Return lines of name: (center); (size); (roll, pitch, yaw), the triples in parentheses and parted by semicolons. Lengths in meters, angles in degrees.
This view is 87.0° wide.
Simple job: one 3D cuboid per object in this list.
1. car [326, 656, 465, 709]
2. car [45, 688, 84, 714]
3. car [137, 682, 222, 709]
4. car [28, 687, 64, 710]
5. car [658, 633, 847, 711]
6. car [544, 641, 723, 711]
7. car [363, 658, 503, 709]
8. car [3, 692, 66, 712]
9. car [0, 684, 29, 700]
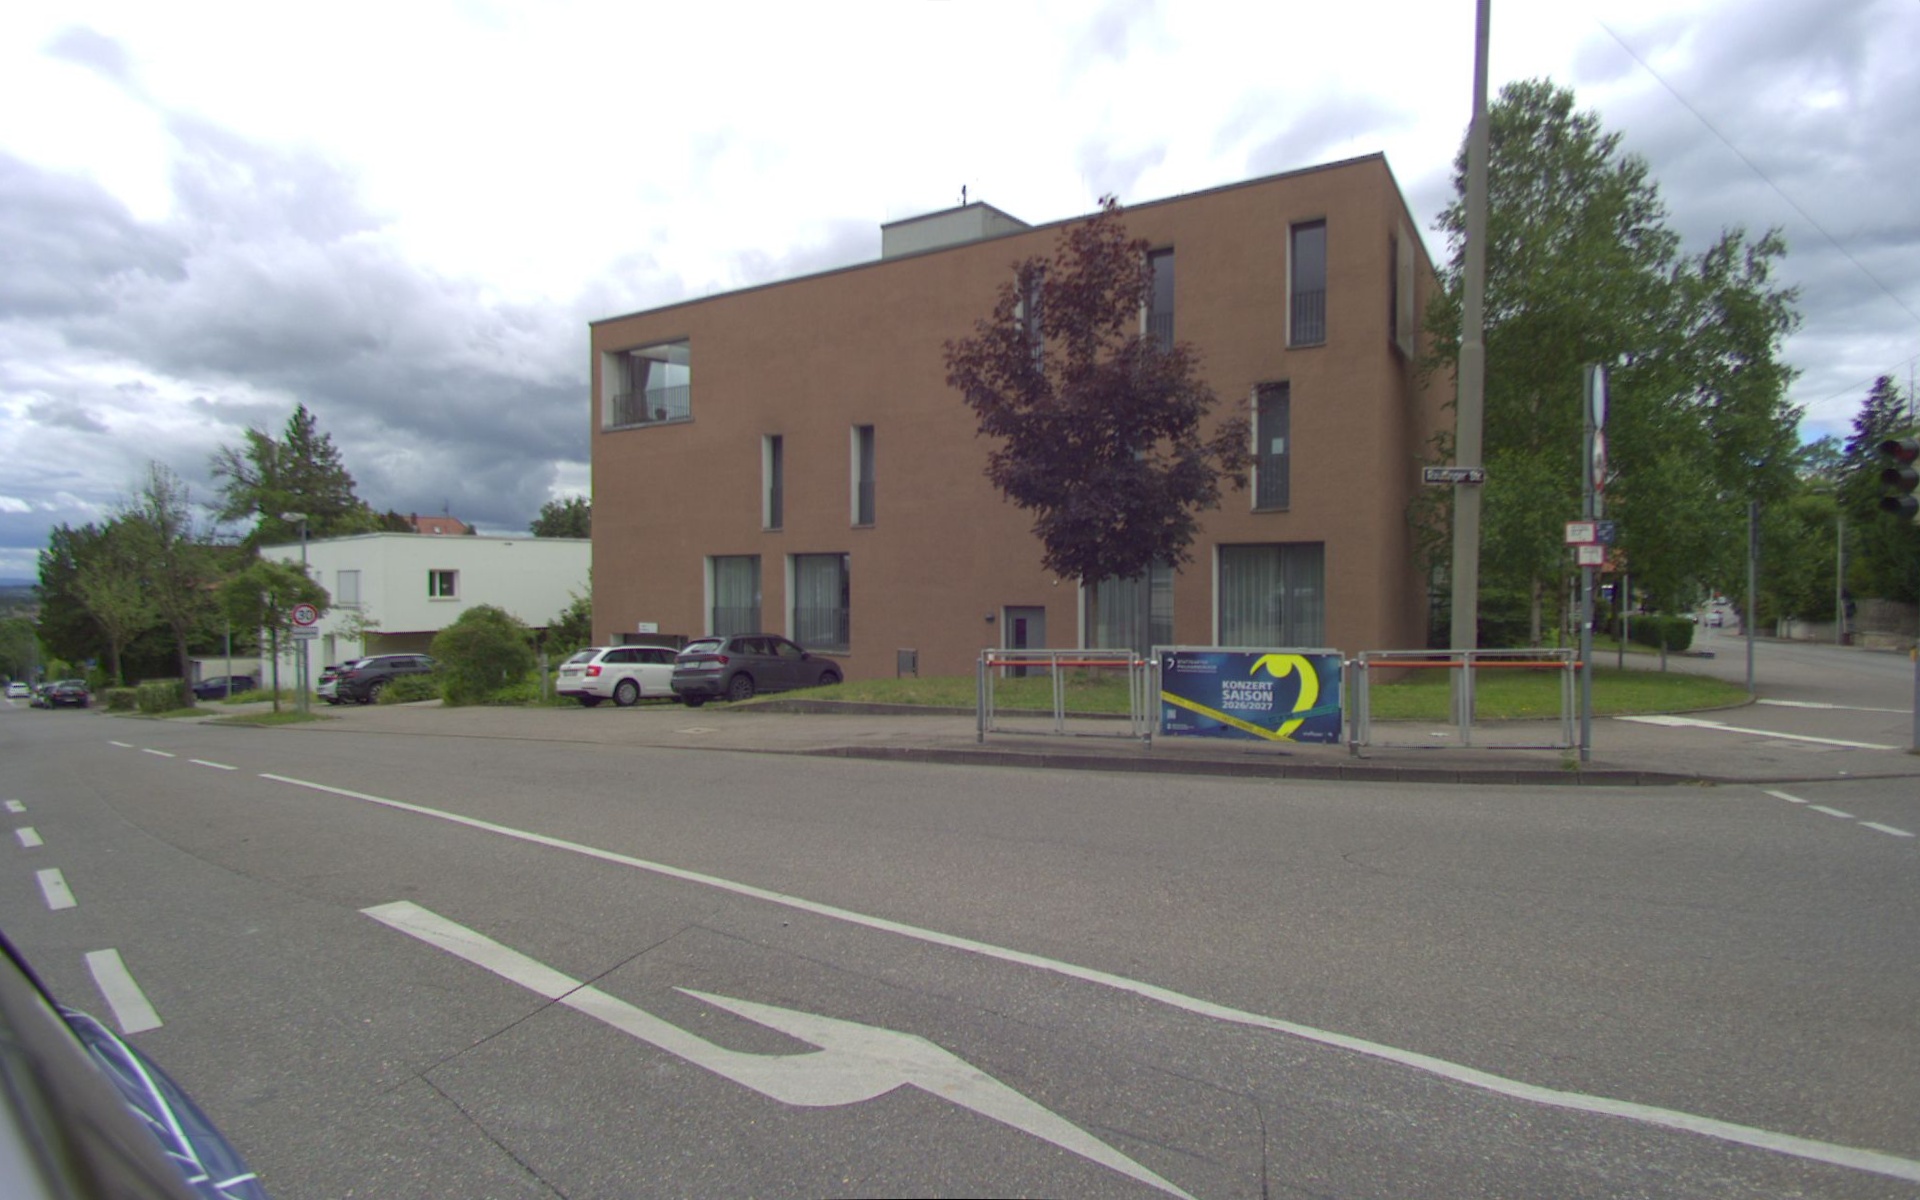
car: (-19.990, 2.900, 35.935); (1.793, 1.608, 3.943); (-6, -4, 43)
car: (-54.950, 6.171, 62.067); (1.638, 1.432, 4.003); (0, -4, -44)
car: (-46.988, 5.739, 60.933); (3.939, 1.296, 1.665); (0, -4, -43)
car: (-61.573, 6.630, 68.146); (1.638, 1.432, 4.371); (0, -4, -44)
car: (-4.520, 1.570, 22.527); (1.724, 1.497, 3.950); (-5, -4, 37)
car: (-8.012, 1.852, 25.123); (1.724, 1.497, 3.950); (-5, -4, 37)
car: (-18.247, 2.879, 35.150); (1.727, 1.497, 3.943); (-6, -4, 43)
car: (-83.698, 9.207, 91.549); (1.723, 1.497, 3.951); (-5, -3, 36)
car: (-95.925, 9.300, 102.350); (4.362, 1.432, 1.861); (-3, -3, 38)
